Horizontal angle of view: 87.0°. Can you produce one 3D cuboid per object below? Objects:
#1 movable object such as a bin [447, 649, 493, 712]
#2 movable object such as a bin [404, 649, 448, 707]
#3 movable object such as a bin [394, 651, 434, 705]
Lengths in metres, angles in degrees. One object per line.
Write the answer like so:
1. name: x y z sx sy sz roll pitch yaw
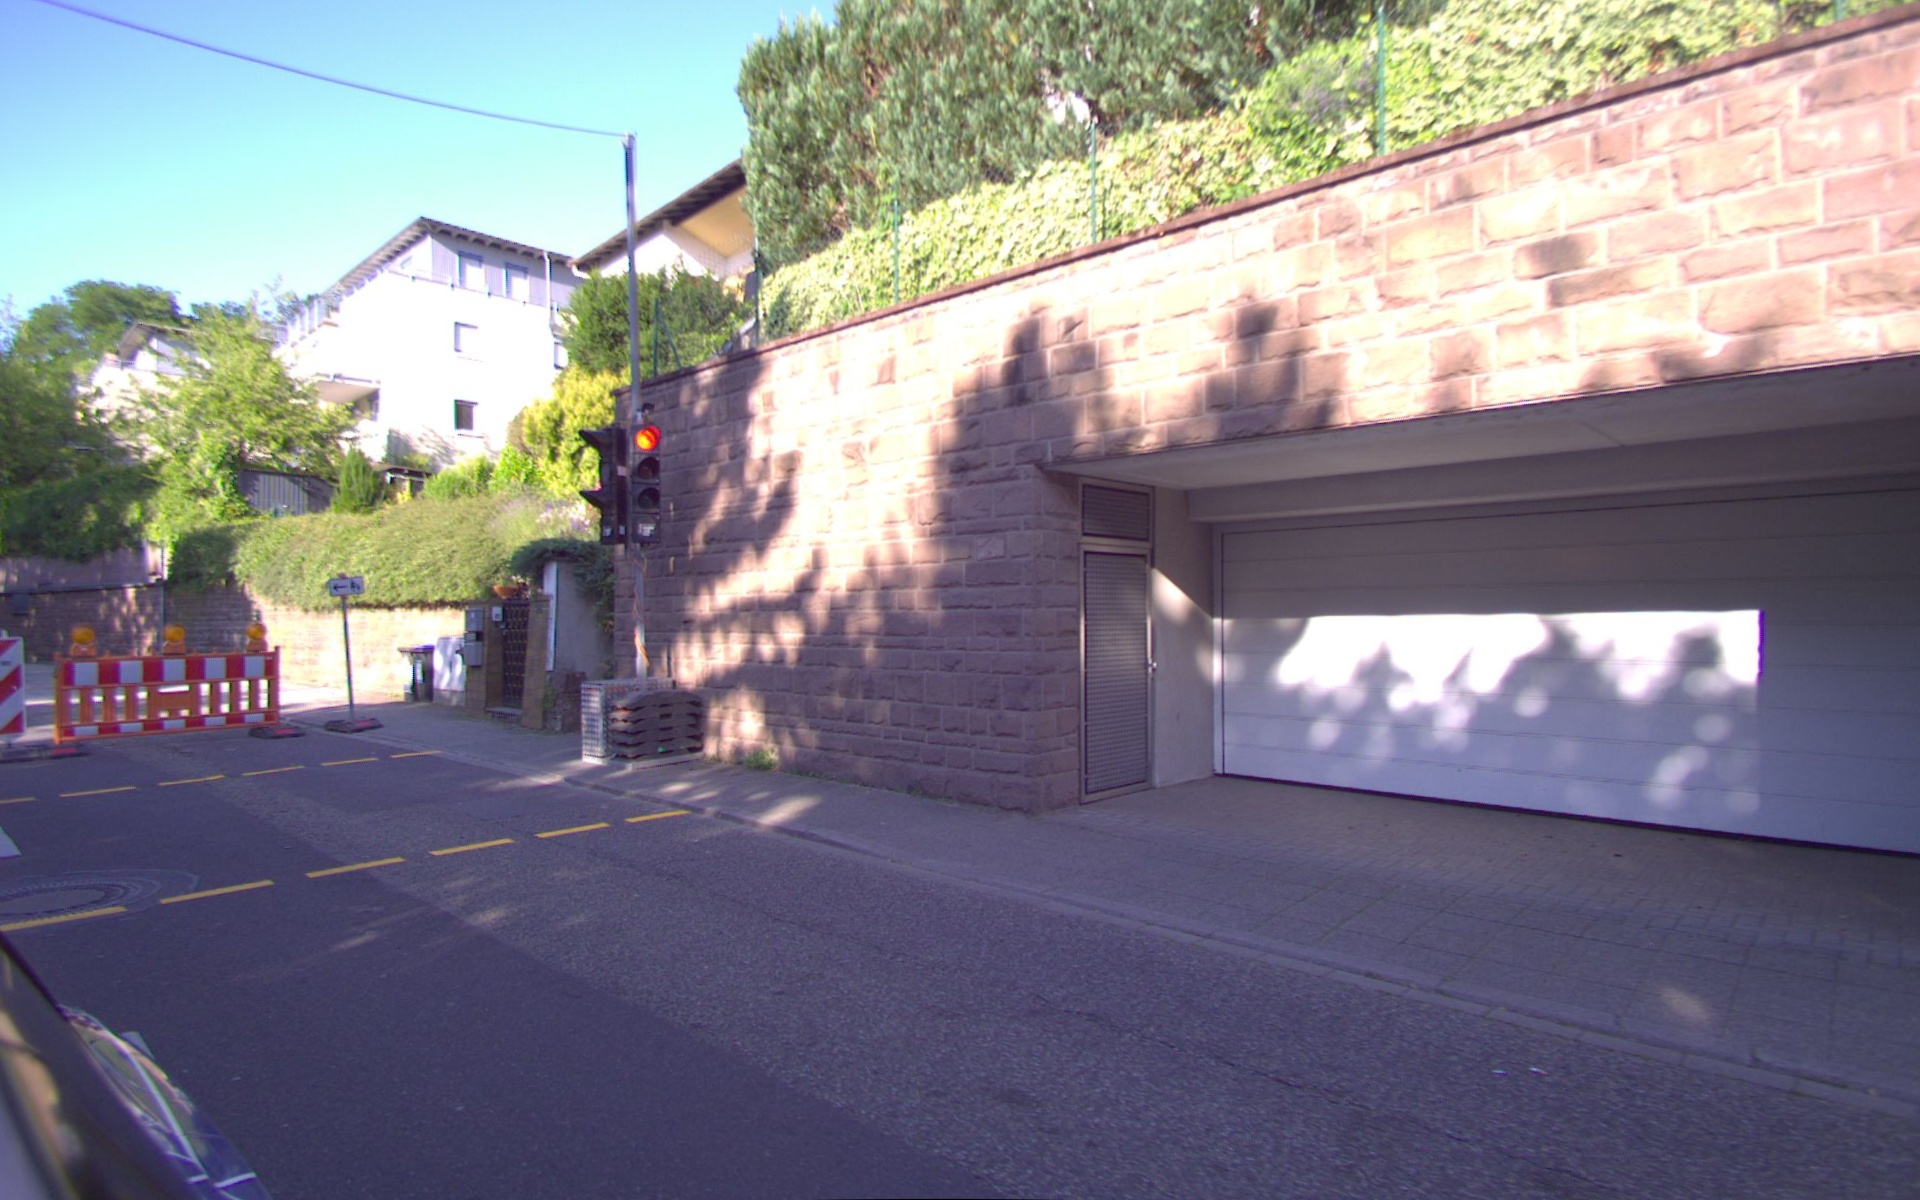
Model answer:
1. movable object such as a bin: -7.360 1.196 15.203 0.500 0.890 0.451 -2 0 41
2. movable object such as a bin: -8.541 1.240 16.189 0.500 0.890 0.451 -2 0 41
3. movable object such as a bin: -8.906 1.270 16.510 0.392 0.840 0.449 -2 -1 40
